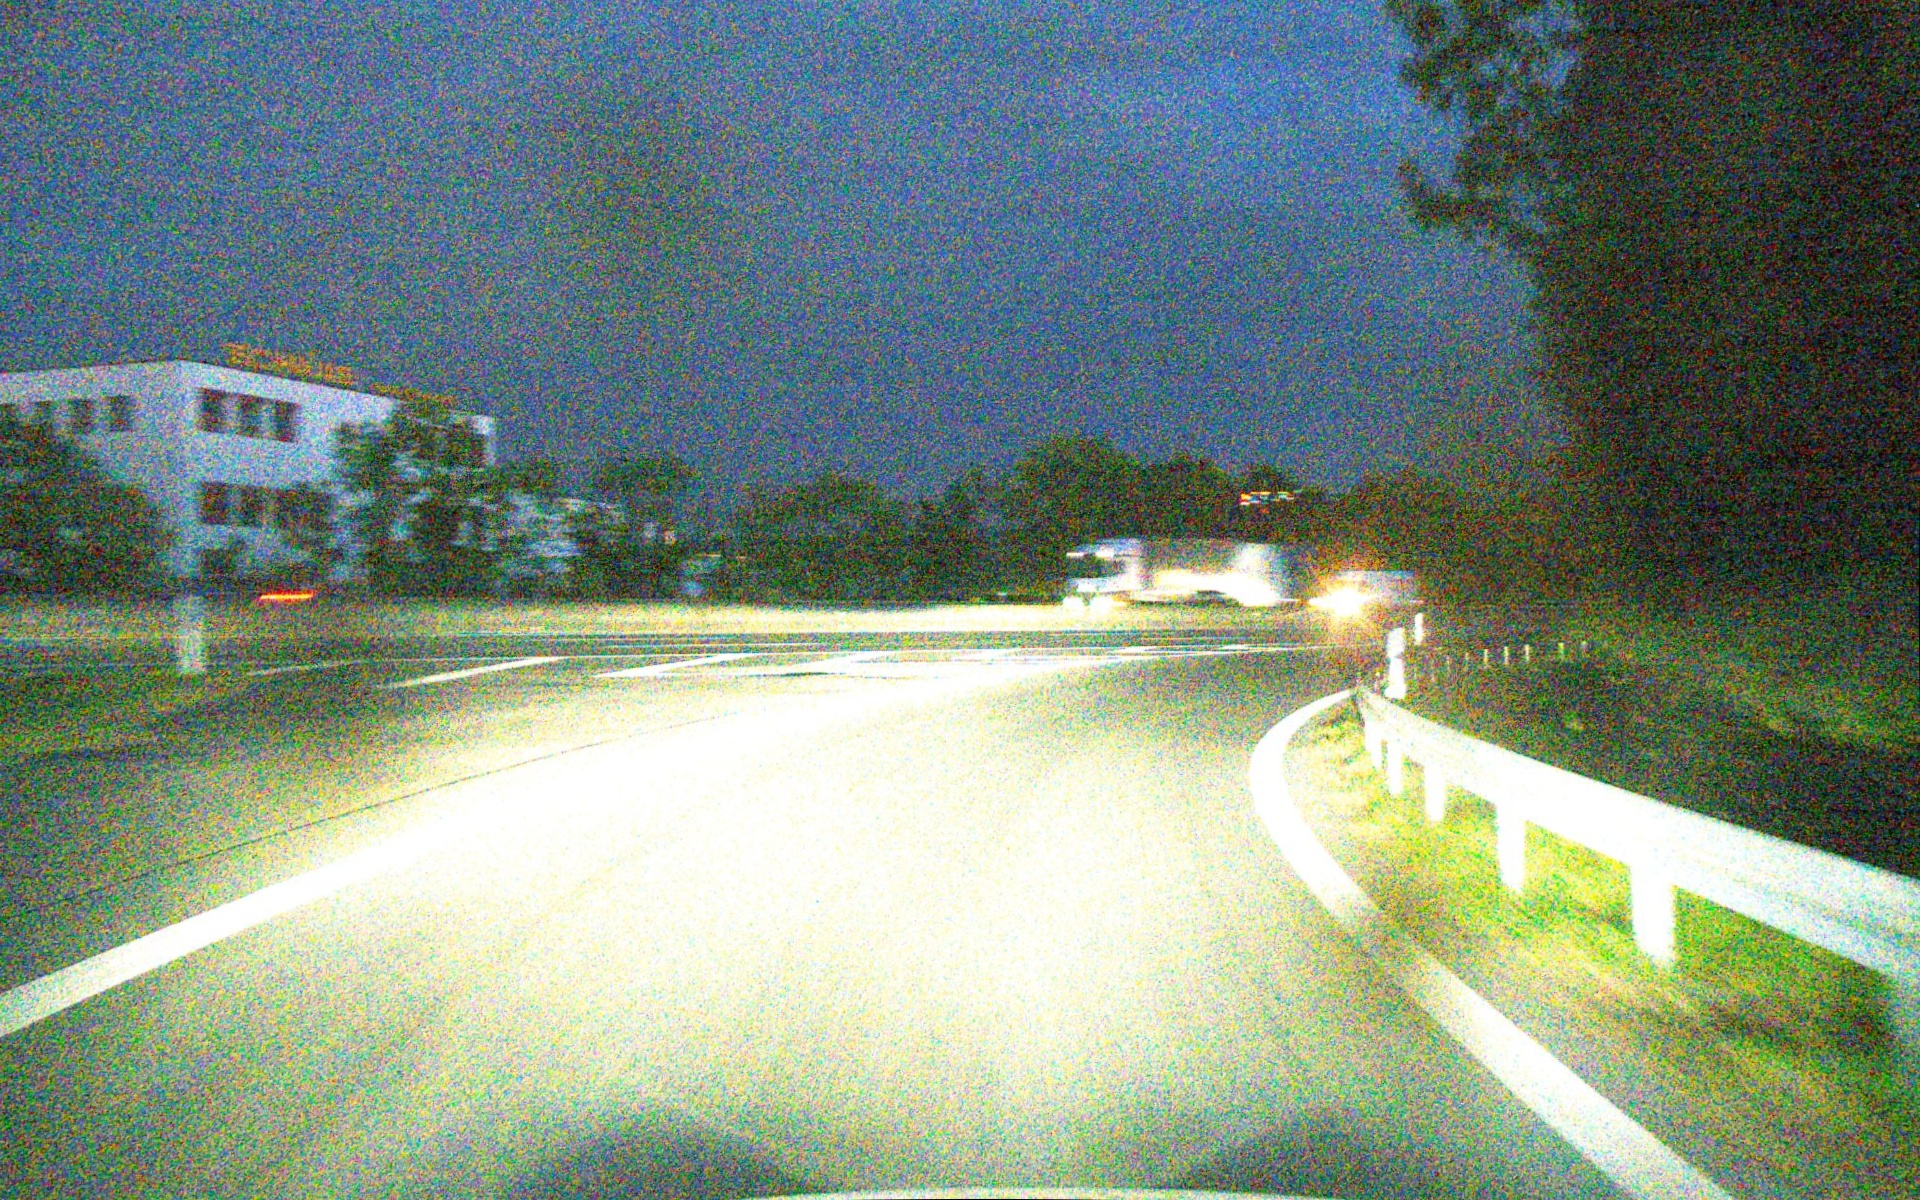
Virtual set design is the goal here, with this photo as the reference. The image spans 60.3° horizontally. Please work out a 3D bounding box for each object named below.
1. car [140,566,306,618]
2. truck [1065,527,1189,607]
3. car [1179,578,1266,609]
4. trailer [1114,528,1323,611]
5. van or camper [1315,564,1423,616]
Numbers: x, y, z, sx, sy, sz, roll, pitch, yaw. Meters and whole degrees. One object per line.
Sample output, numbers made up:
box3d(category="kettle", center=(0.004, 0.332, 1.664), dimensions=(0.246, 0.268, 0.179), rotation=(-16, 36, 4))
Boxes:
box3d(category="car", center=(-19.399, -0.218, 43.610), dimensions=(3.685, 1.299, 1.604), rotation=(0, 1, -43))
box3d(category="truck", center=(8.016, -1.558, 79.192), dimensions=(5.917, 3.658, 2.723), rotation=(1, 1, -44))
box3d(category="car", center=(11.523, -0.275, 72.528), dimensions=(3.964, 1.299, 1.605), rotation=(0, 1, -41))
box3d(category="trailer", center=(13.385, -1.451, 84.132), dimensions=(13.648, 3.882, 2.724), rotation=(1, 1, -43))
box3d(category="van or camper", center=(21.273, -0.478, 85.755), dimensions=(7.129, 2.594, 1.968), rotation=(1, 1, -45))
